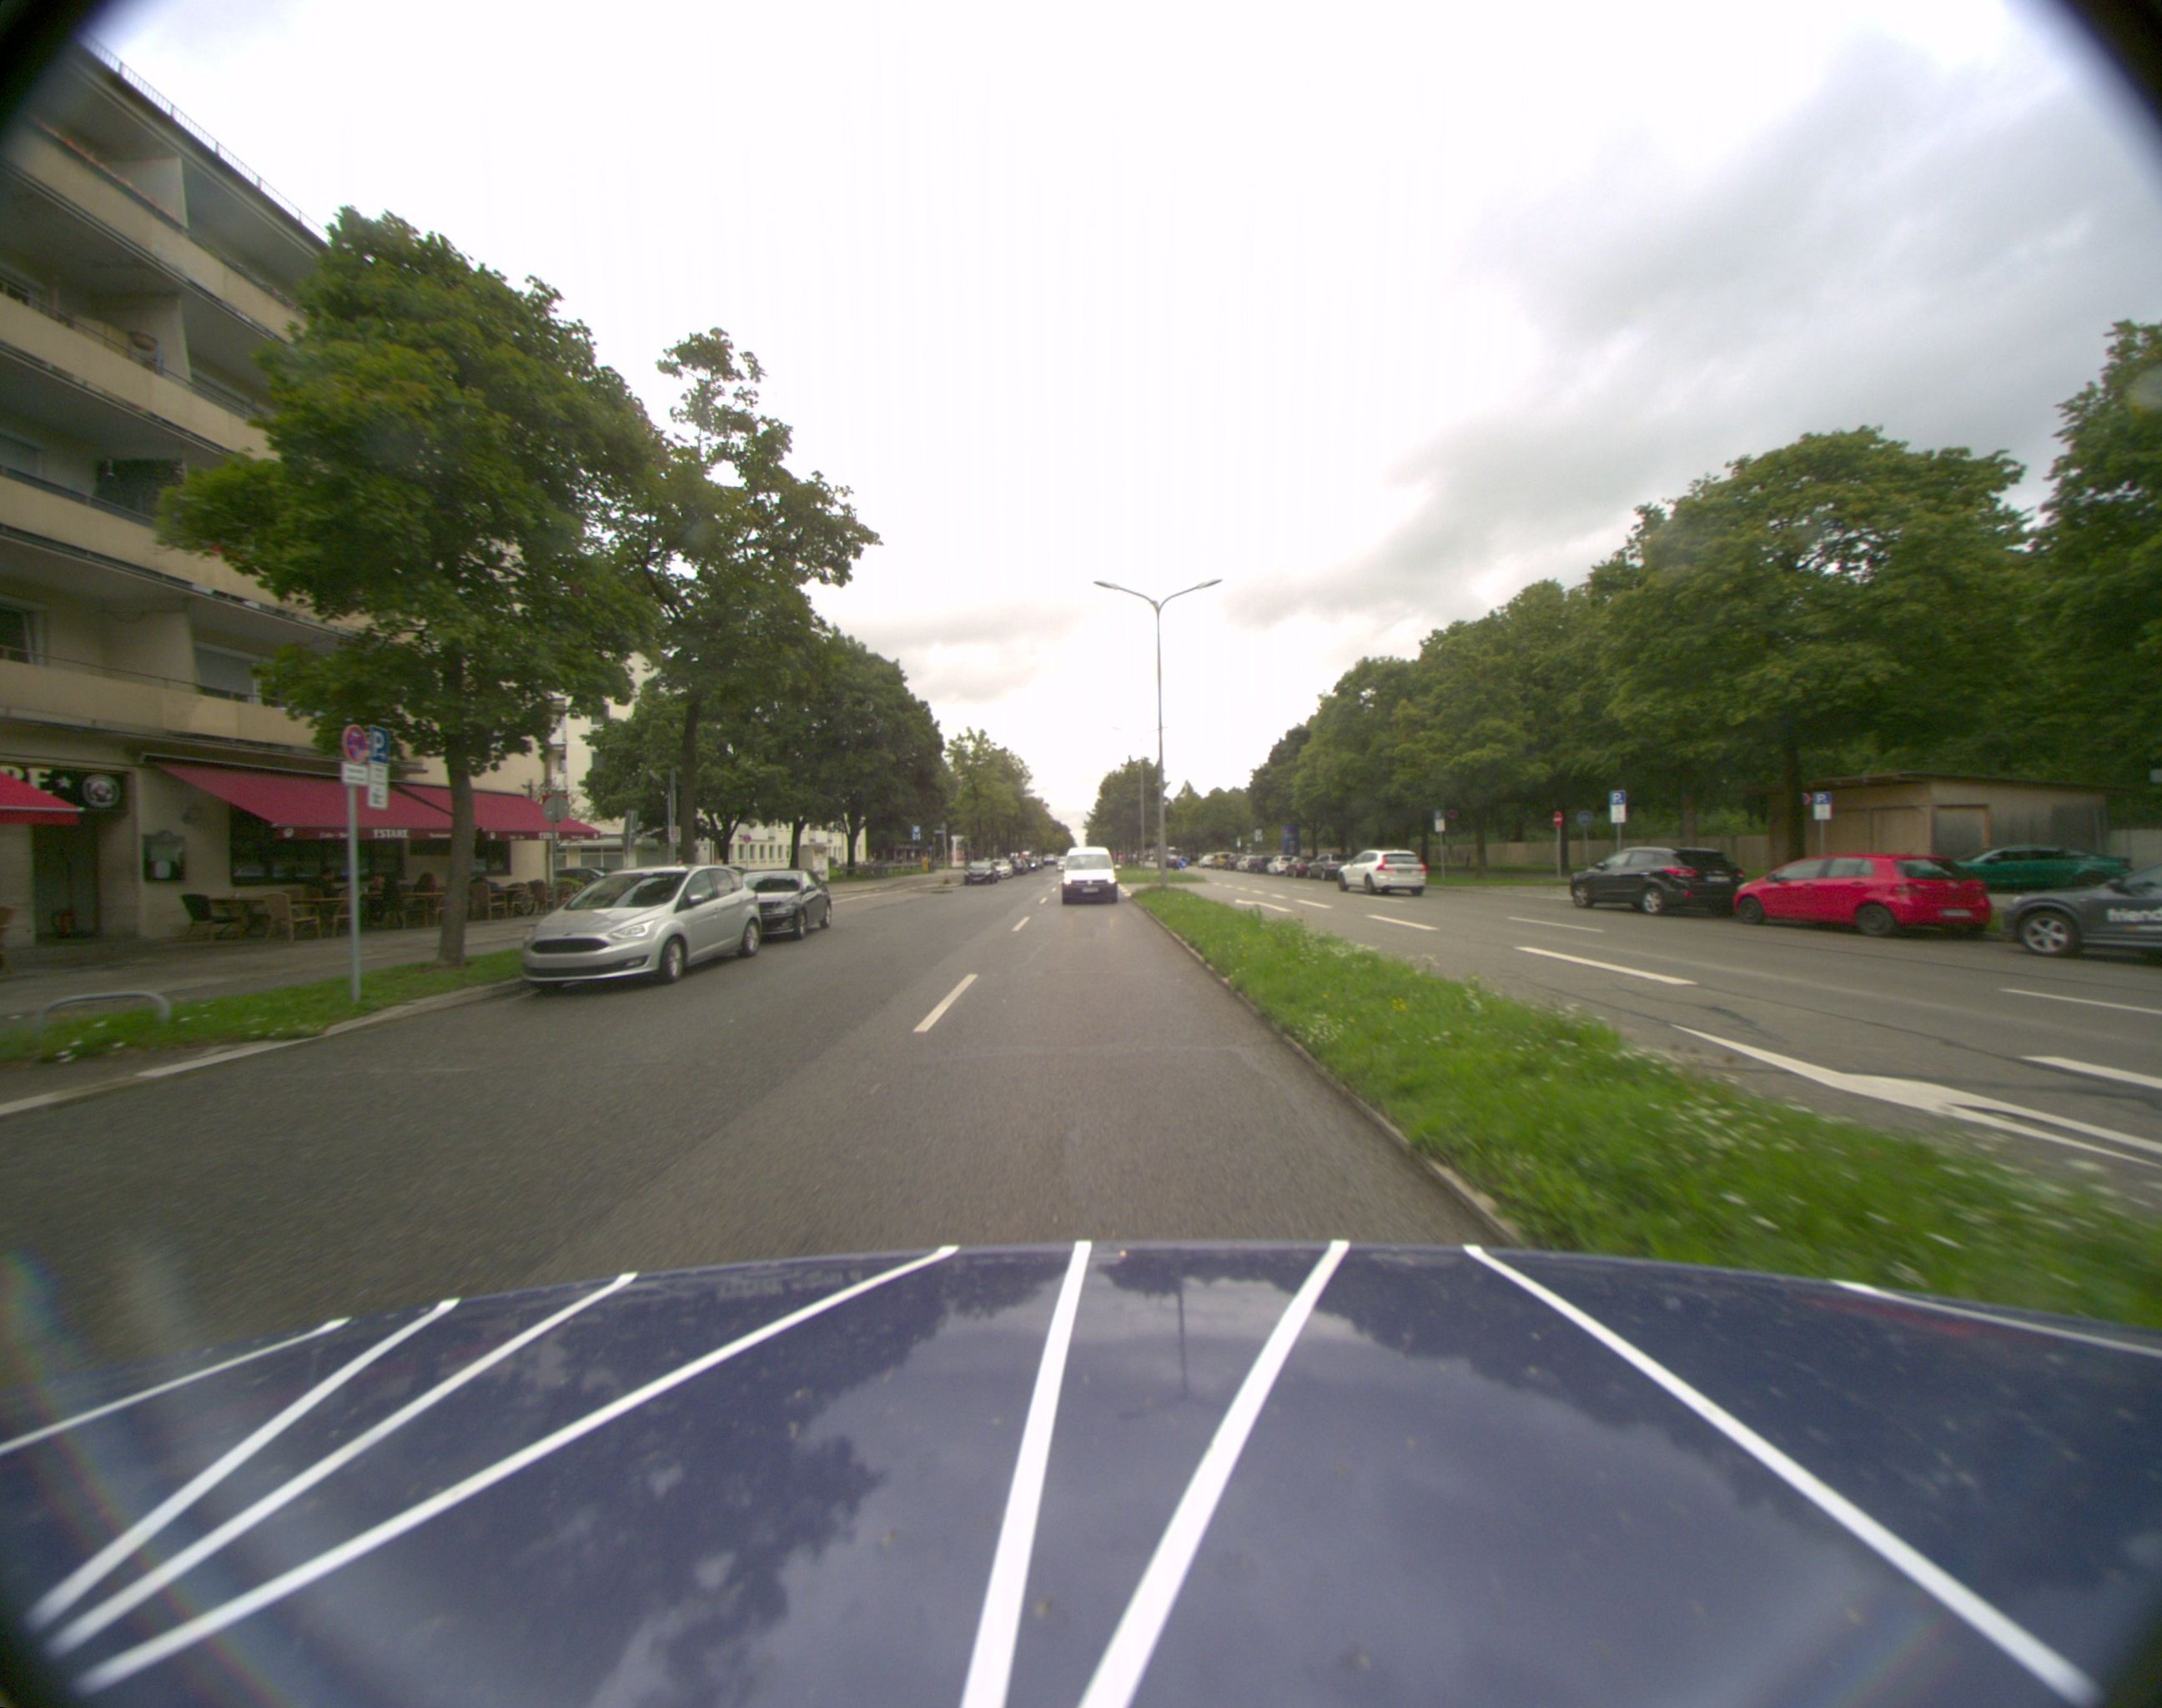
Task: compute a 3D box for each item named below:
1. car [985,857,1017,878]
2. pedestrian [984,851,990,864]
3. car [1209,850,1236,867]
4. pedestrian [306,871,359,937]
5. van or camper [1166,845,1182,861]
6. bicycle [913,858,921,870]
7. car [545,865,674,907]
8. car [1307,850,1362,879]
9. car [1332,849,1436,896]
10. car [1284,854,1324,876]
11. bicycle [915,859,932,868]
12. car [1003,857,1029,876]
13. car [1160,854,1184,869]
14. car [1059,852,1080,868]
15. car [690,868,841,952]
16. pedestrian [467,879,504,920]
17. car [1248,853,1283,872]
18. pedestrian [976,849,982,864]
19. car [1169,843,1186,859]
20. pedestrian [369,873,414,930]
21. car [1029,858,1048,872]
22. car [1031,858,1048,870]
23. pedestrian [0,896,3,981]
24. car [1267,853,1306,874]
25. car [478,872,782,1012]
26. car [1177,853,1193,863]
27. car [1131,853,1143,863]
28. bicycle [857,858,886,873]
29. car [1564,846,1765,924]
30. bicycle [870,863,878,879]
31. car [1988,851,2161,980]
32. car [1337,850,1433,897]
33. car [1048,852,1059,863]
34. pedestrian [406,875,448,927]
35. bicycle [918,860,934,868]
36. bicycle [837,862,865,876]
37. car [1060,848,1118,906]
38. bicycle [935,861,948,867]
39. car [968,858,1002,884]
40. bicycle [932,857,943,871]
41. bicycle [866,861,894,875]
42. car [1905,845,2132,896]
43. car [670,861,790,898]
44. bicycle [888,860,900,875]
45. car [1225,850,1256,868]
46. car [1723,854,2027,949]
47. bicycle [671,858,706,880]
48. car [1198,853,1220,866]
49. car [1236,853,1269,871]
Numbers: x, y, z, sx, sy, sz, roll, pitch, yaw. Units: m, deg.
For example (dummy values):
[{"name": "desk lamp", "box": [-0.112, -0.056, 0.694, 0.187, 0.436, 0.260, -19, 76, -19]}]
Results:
[{"name": "car", "box": [-5.982, 0.967, 57.093, 1.826, 1.428, 4.287, -3, 0, 1]}, {"name": "pedestrian", "box": [-11.324, 0.424, 91.819, 0.560, 1.595, 0.519, -2, 1, -19]}, {"name": "car", "box": [14.908, 0.466, 80.099, 1.862, 1.761, 4.533, 0, 0, -2]}, {"name": "pedestrian", "box": [-15.828, 1.048, 16.078, 0.539, 1.331, 0.552, -1, 1, -1]}, {"name": "van or camper", "box": [15.797, -0.173, 129.355, 1.999, 2.791, 4.931, 0, 0, -2]}, {"name": "bicycle", "box": [-15.381, 0.962, 71.304, 0.466, 1.110, 1.253, -1, 0, 1]}, {"name": "car", "box": [-18.577, 1.249, 30.055, 3.935, 1.511, 1.730, -1, 0, -1]}, {"name": "car", "box": [15.030, 0.598, 45.249, 1.826, 1.621, 4.456, 0, 0, 0]}, {"name": "car", "box": [11.253, 0.631, 28.607, 2.030, 1.610, 4.683, 0, 0, 0]}, {"name": "car", "box": [15.004, 0.727, 51.230, 1.654, 1.414, 3.687, 1, 0, 1]}, {"name": "bicycle", "box": [-15.991, 0.994, 77.242, 1.599, 0.910, 0.498, -1, 1, -4]}, {"name": "car", "box": [-5.730, 1.093, 67.280, 1.826, 1.502, 4.157, -2, 0, 0]}, {"name": "car", "box": [8.995, 0.719, 75.590, 1.820, 1.440, 4.781, 0, 0, 0]}, {"name": "car", "box": [-1.198, 0.632, 79.907, 1.984, 1.591, 4.402, 1, 0, 1]}, {"name": "car", "box": [-6.593, 1.093, 16.339, 1.834, 1.464, 3.886, -1, 0, -4]}, {"name": "pedestrian", "box": [-15.556, 1.180, 19.845, 0.539, 1.048, 0.487, -1, 1, 1]}, {"name": "car", "box": [14.985, 0.682, 61.939, 1.826, 1.438, 3.787, 1, 0, -2]}, {"name": "pedestrian", "box": [-12.272, 0.306, 91.696, 0.560, 1.745, 0.656, -2, 1, -19]}, {"name": "car", "box": [15.687, -0.472, 124.065, 1.999, 2.576, 4.499, 0, 0, -2]}, {"name": "pedestrian", "box": [-15.693, 1.066, 17.296, 0.539, 1.261, 0.487, -1, 1, -1]}, {"name": "car", "box": [-4.638, 1.165, 83.360, 1.827, 1.371, 4.300, -2, 0, -1]}, {"name": "car", "box": [-5.371, 1.252, 98.211, 1.827, 1.460, 4.300, -2, 0, 1]}, {"name": "pedestrian", "box": [-15.155, 1.153, 10.094, 0.745, 1.156, 0.646, 1, 1, 0]}, {"name": "car", "box": [15.168, 0.666, 56.298, 1.826, 1.468, 4.260, 1, 0, 1]}, {"name": "car", "box": [-6.273, 1.103, 11.336, 1.834, 1.513, 4.523, -1, 0, -1]}, {"name": "car", "box": [15.262, 0.636, 111.399, 1.717, 1.401, 4.041, 0, 0, -2]}, {"name": "car", "box": [9.642, 0.684, 131.559, 1.826, 1.580, 4.501, -1, 0, 1]}, {"name": "bicycle", "box": [-16.178, 0.877, 58.698, 2.032, 1.061, 0.663, -1, 1, -4]}, {"name": "car", "box": [14.557, 0.677, 19.323, 1.826, 1.690, 4.238, -1, 1, -1]}, {"name": "bicycle", "box": [-13.595, 1.100, 49.839, 0.449, 1.009, 1.850, -1, 0, -15]}, {"name": "car", "box": [14.474, 0.774, 9.335, 1.826, 1.590, 4.113, -1, 0, 2]}, {"name": "car", "box": [11.201, 0.662, 28.375, 1.855, 1.591, 4.402, 1, 0, 1]}, {"name": "car", "box": [-4.896, 0.634, 135.730, 1.827, 1.939, 4.300, -2, 0, 1]}, {"name": "pedestrian", "box": [-15.738, 1.124, 18.284, 0.539, 1.207, 0.487, -1, 1, 1]}, {"name": "bicycle", "box": [-16.192, 1.043, 79.551, 1.599, 0.910, 0.498, 0, 1, -4]}, {"name": "bicycle", "box": [-18.667, 1.193, 61.748, 2.032, 1.061, 0.663, -1, 1, -4]}, {"name": "car", "box": [0.273, 0.730, 26.474, 1.772, 1.742, 4.545, -3, 0, 0]}, {"name": "bicycle", "box": [-15.451, 1.115, 84.357, 1.392, 0.709, 0.498, 1, 0, -4]}, {"name": "car", "box": [-5.859, 1.000, 46.716, 1.648, 1.468, 3.956, -2, 0, -1]}, {"name": "bicycle", "box": [-13.263, 0.907, 70.083, 0.545, 1.182, 2.076, -1, 0, 1]}, {"name": "bicycle", "box": [-16.336, 1.110, 61.809, 2.032, 1.061, 0.663, -1, 1, -4]}, {"name": "car", "box": [27.725, 0.476, 22.681, 3.849, 1.401, 1.863, -1, 0, 31]}, {"name": "car", "box": [-15.042, 1.059, 32.703, 4.217, 1.434, 2.000, -1, 0, 4]}, {"name": "bicycle", "box": [-13.476, 0.973, 54.795, 0.470, 1.049, 1.767, 1, 1, -4]}, {"name": "car", "box": [15.401, 0.465, 73.555, 2.007, 1.607, 4.041, 0, 0, -2]}, {"name": "car", "box": [14.852, 0.796, 14.581, 1.826, 1.471, 3.808, -1, 1, -1]}, {"name": "bicycle", "box": [-20.861, 0.791, 40.440, 1.473, 1.149, 0.699, -1, 1, -2]}, {"name": "car", "box": [15.206, 0.647, 90.462, 1.717, 1.434, 4.041, 0, 0, -2]}, {"name": "car", "box": [15.134, 0.697, 67.173, 1.826, 1.461, 4.300, 0, 0, -2]}]
